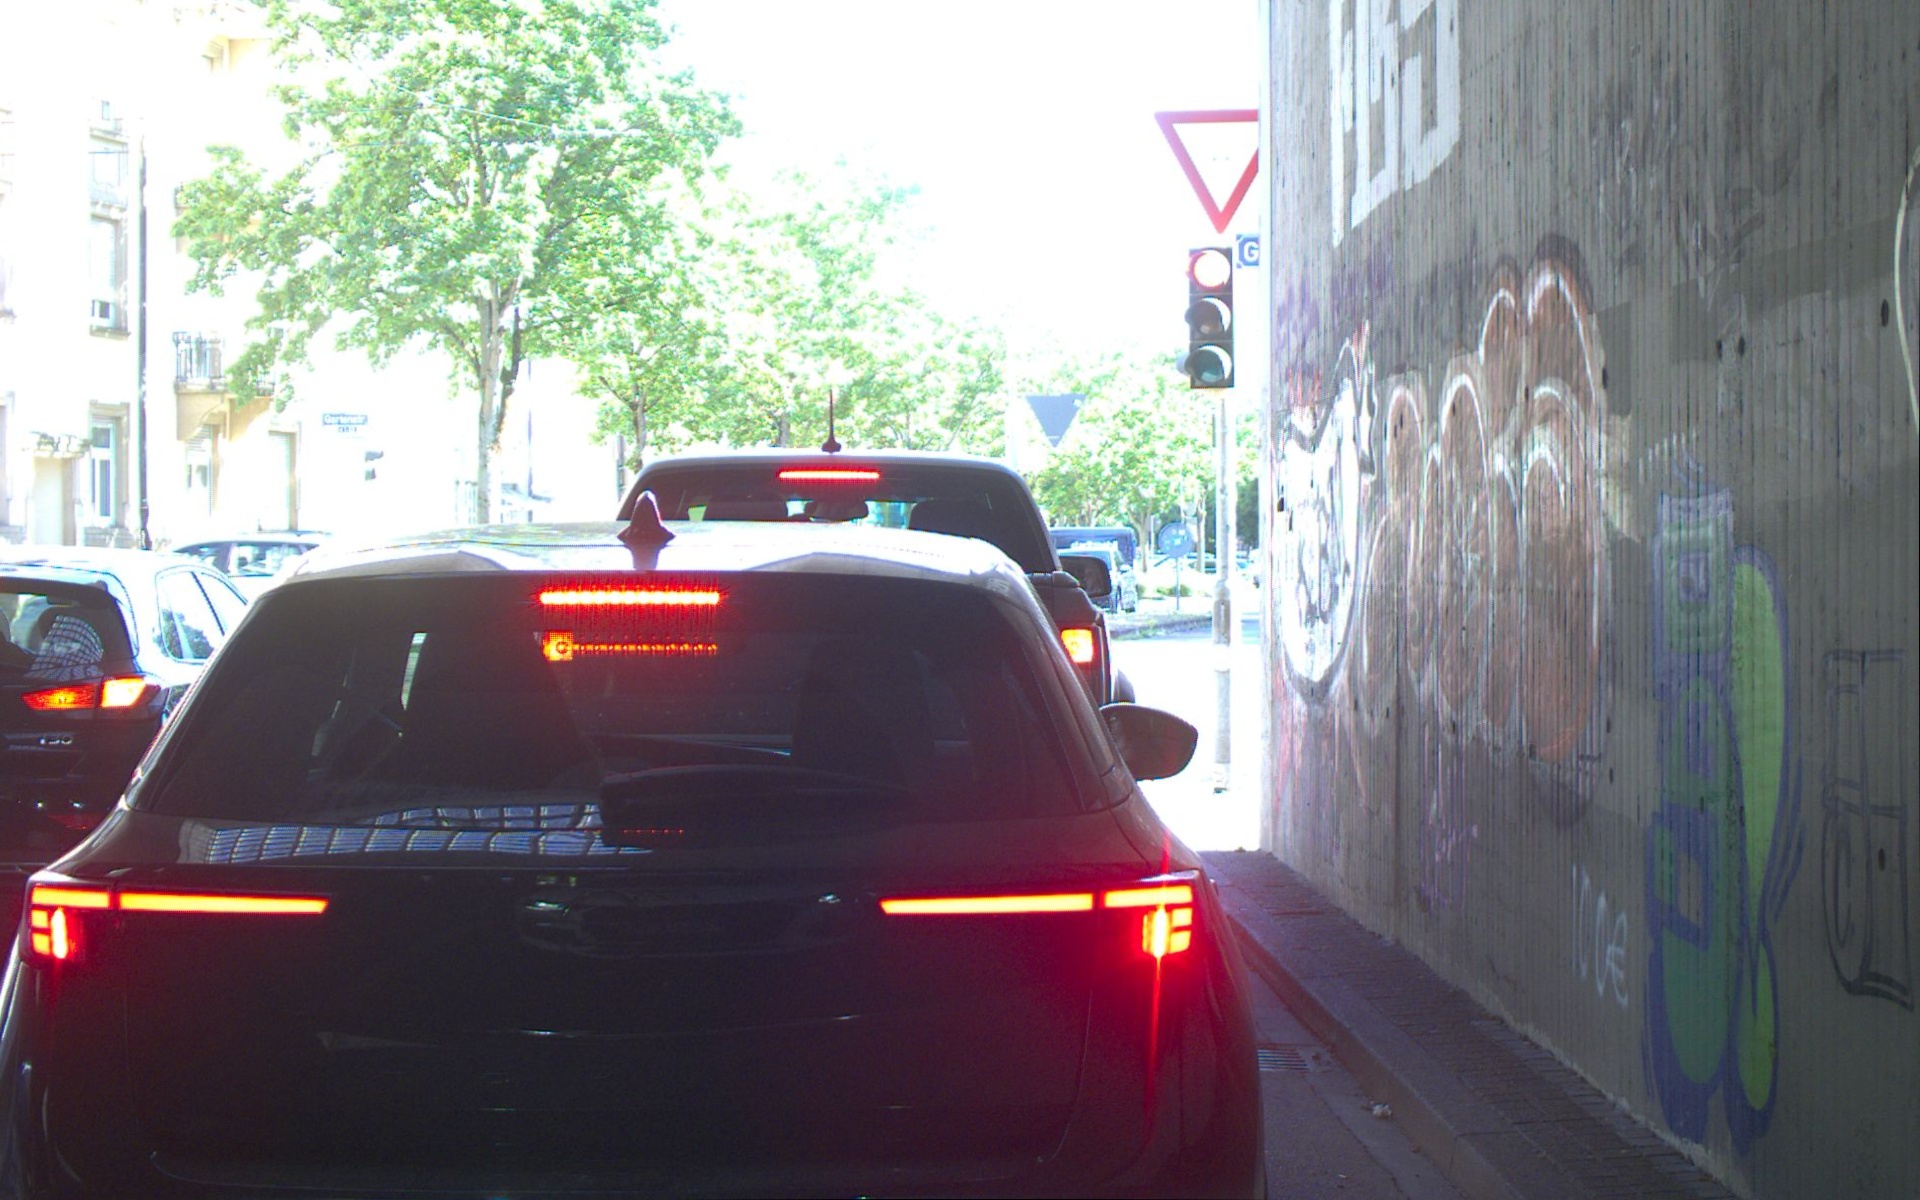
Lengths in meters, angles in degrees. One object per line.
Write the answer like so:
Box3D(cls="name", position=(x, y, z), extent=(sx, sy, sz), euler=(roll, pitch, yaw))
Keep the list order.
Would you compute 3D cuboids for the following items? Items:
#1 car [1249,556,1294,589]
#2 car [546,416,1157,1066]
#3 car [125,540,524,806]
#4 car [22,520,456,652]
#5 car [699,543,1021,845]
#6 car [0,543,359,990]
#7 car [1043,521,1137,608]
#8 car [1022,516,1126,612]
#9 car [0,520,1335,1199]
Box3D(cls="car", position=(16.029, -1.413, 176.648), extent=(1.818, 1.661, 4.813), euler=(1, 1, 11))
Box3D(cls="car", position=(-0.338, 0.375, 12.011), extent=(1.762, 1.876, 4.146), euler=(0, 1, -1))
Box3D(cls="car", position=(-3.765, 0.373, 20.983), extent=(1.762, 1.475, 3.844), euler=(0, 1, -1))
Box3D(cls="car", position=(-7.815, -0.161, 37.509), extent=(4.279, 1.394, 1.882), euler=(0, 1, 5))
Box3D(cls="car", position=(-0.523, 0.437, 19.231), extent=(1.609, 1.508, 4.054), euler=(0, 1, -1))
Box3D(cls="car", position=(-3.515, 0.519, 13.259), extent=(1.762, 1.475, 3.844), euler=(0, 1, -1))
Box3D(cls="car", position=(2.608, -0.706, 68.286), extent=(1.754, 1.661, 3.944), euler=(1, 1, 3))
Box3D(cls="car", position=(2.088, -0.652, 62.166), extent=(1.754, 1.661, 3.944), euler=(1, 1, 3))
Box3D(cls="car", position=(-0.466, 0.637, 6.071), extent=(1.762, 1.526, 4.089), euler=(0, 1, -1))
